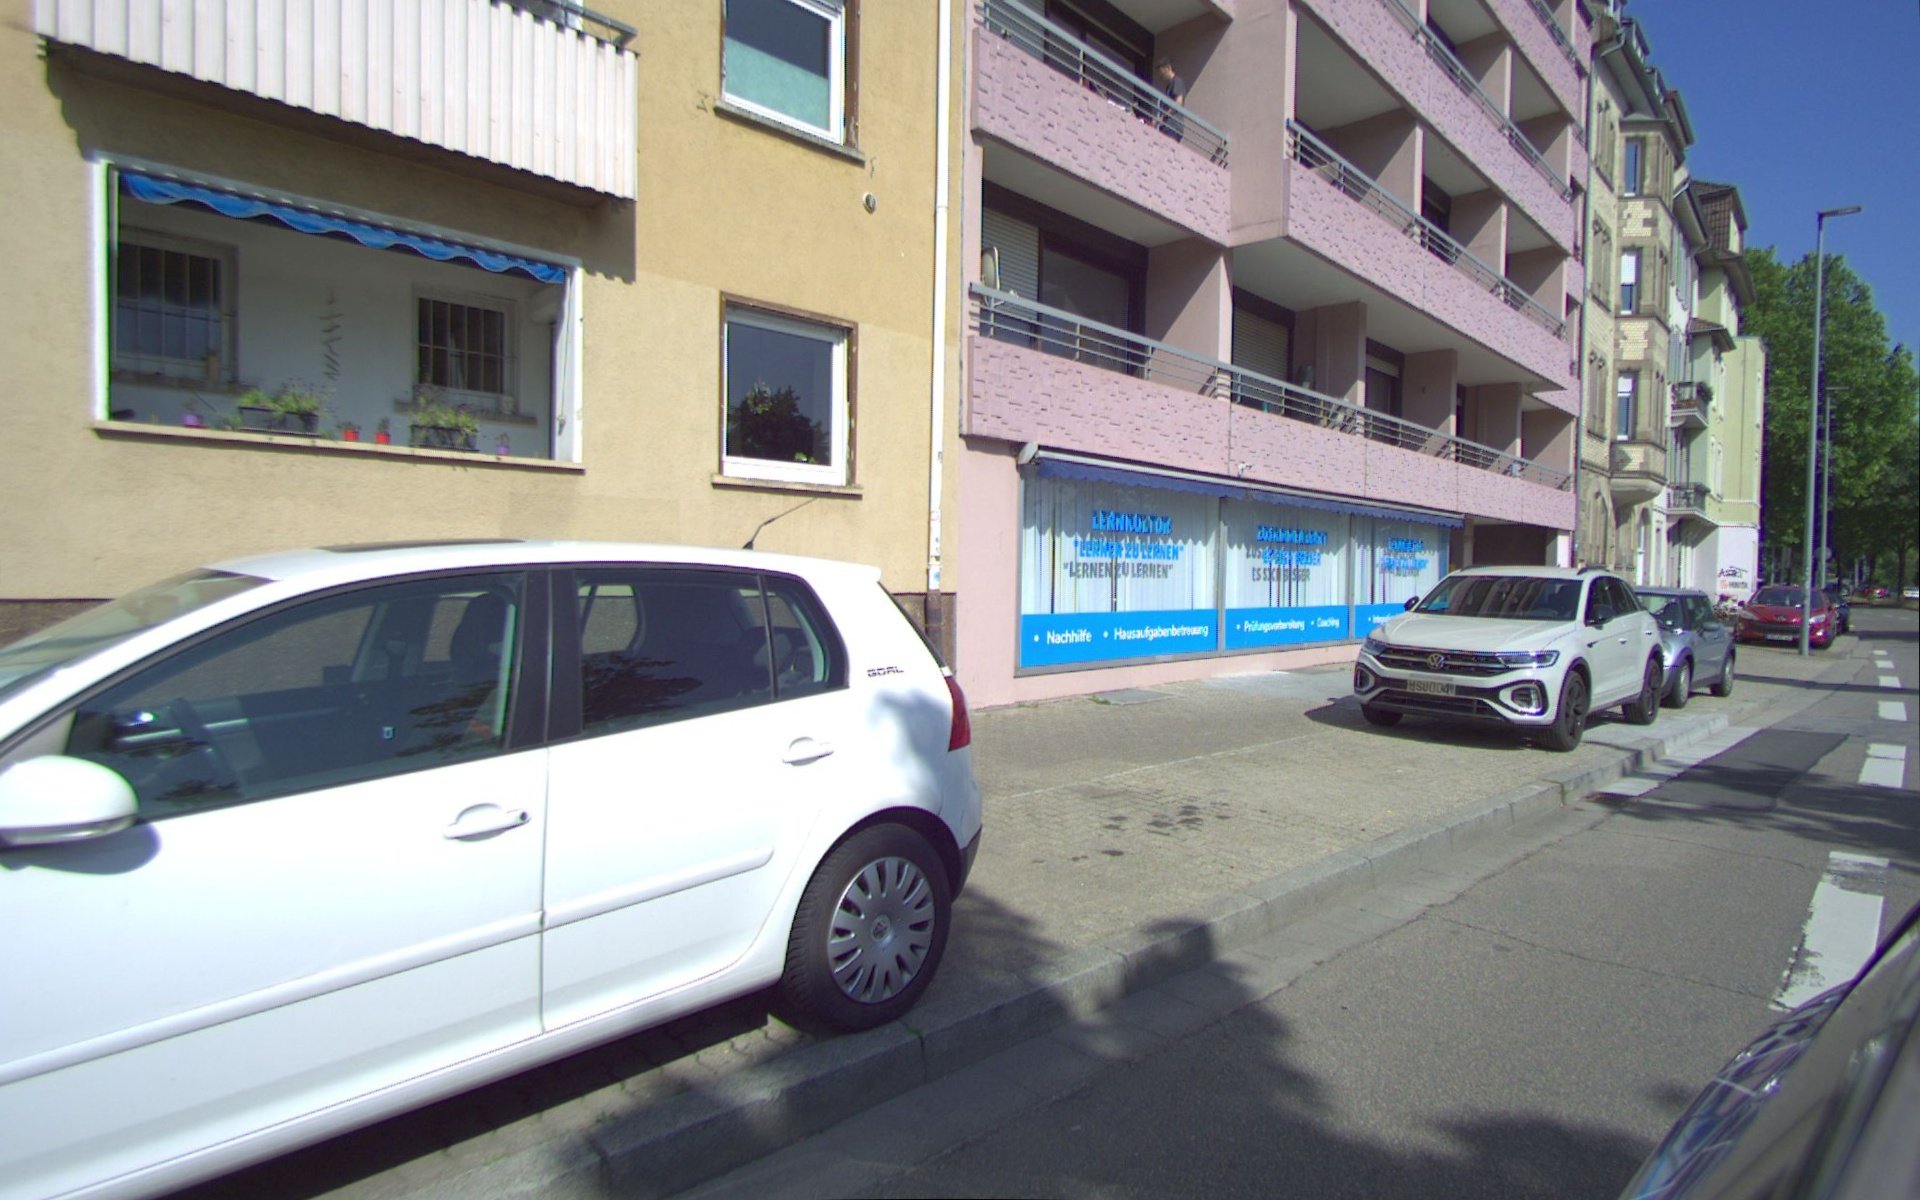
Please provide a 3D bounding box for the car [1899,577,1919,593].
[{"bbox_3d":[91.537,-1.410,96.415,1.853,1.470,4.166,3,3,27],"label":"car"}]

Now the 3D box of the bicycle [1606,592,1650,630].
[{"bbox_3d":[18.343,0.290,27.763,0.650,0.982,1.834,3,2,44],"label":"bicycle"}]

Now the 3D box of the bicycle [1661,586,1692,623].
[{"bbox_3d":[24.073,0.142,33.990,0.654,1.160,1.603,4,3,40],"label":"bicycle"}]

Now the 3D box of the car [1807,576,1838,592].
[{"bbox_3d":[102.235,-1.927,119.970,1.982,1.914,3.961,1,2,28],"label":"car"}]

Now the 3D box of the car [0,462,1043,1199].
[{"bbox_3d":[-1.784,0.498,2.706,4.060,1.524,1.758,0,2,-44],"label":"car"}]

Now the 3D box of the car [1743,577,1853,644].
[{"bbox_3d":[21.284,0.216,25.656,1.786,1.500,3.936,4,3,44],"label":"car"}]

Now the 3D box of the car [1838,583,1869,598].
[{"bbox_3d":[107.980,-1.167,122.364,1.907,1.684,4.268,1,1,29],"label":"car"}]

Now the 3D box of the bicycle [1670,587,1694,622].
[{"bbox_3d":[25.241,0.141,35.378,0.565,1.195,1.603,1,1,40],"label":"bicycle"}]

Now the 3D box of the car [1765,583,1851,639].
[{"bbox_3d":[24.644,0.265,29.371,1.642,1.470,4.062,3,2,43],"label":"car"}]

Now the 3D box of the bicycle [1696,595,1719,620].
[{"bbox_3d":[30.688,0.300,41.540,0.607,0.957,2.083,1,1,40],"label":"bicycle"}]

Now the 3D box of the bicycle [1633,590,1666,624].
[{"bbox_3d":[20.676,0.201,30.333,0.508,0.982,1.626,2,2,44],"label":"bicycle"}]

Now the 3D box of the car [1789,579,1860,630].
[{"bbox_3d":[28.571,0.110,33.411,1.641,1.519,3.950,4,3,41],"label":"car"}]

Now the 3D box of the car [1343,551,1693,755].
[{"bbox_3d":[5.600,0.356,9.900,4.281,1.560,1.738,-1,3,-43],"label":"car"}]

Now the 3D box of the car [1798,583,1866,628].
[{"bbox_3d":[31.621,0.155,36.693,1.740,1.433,4.020,4,3,41],"label":"car"}]

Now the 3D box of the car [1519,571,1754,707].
[{"bbox_3d":[8.700,0.409,12.930,3.372,1.426,1.681,0,4,-43],"label":"car"}]

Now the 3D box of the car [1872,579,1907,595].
[{"bbox_3d":[96.937,-1.343,105.539,1.788,1.538,3.923,3,3,30],"label":"car"}]
